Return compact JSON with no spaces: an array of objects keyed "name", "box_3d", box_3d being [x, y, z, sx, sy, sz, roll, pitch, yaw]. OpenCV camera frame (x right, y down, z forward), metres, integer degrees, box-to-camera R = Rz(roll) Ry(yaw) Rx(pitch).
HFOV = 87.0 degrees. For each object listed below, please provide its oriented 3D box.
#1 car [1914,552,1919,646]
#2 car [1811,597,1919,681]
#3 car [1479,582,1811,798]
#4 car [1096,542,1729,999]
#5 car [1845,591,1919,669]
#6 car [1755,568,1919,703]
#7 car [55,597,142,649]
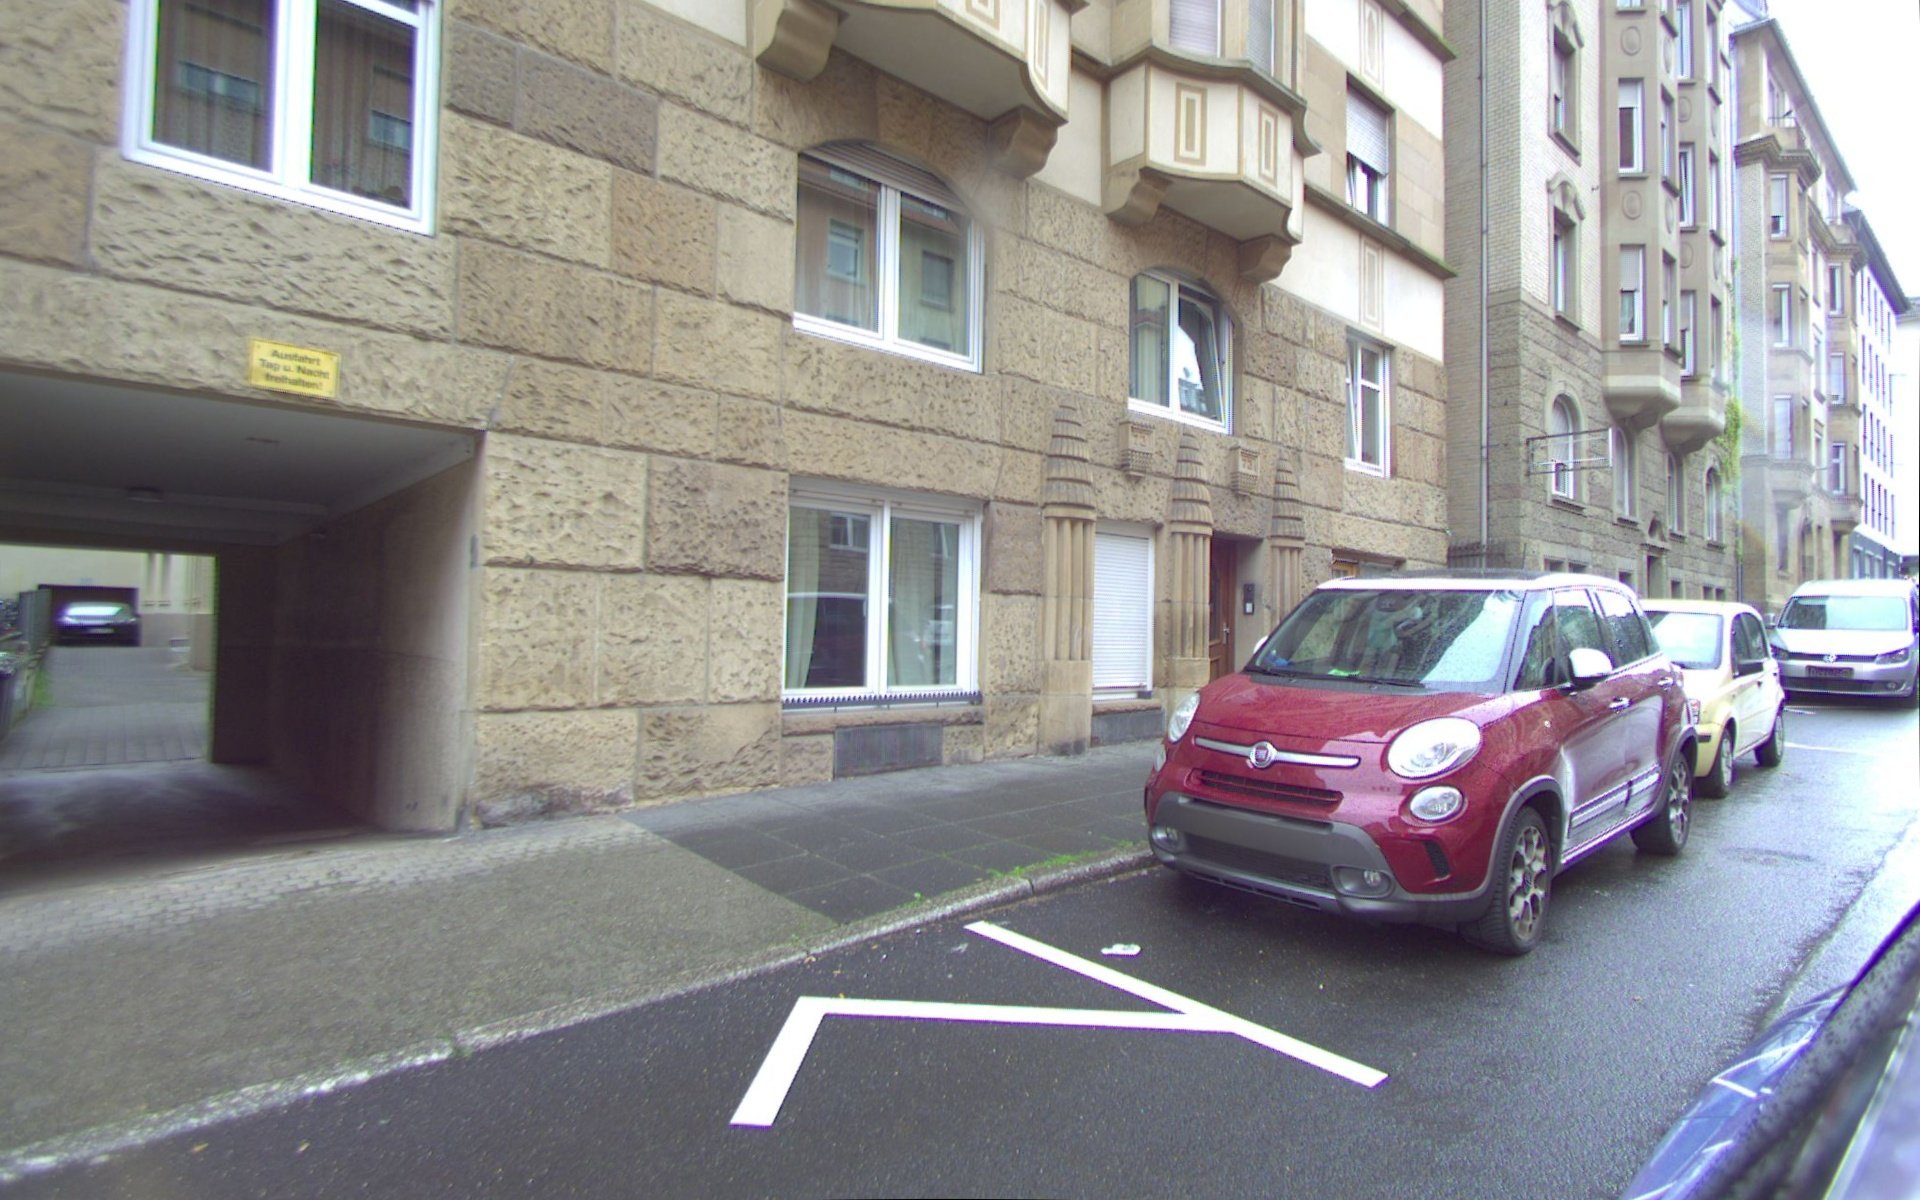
[{"name":"car","box_3d":[29.147,-0.047,28.842,6.042,2.567,1.991,0,-1,-39]},{"name":"car","box_3d":[17.146,0.650,18.421,3.912,1.406,1.929,0,-1,-41]},{"name":"car","box_3d":[6.139,0.642,8.938,3.471,1.530,1.630,0,-1,-42]},{"name":"car","box_3d":[2.700,0.583,5.578,3.932,1.621,1.772,0,1,-42]},{"name":"car","box_3d":[20.346,0.595,21.382,3.987,1.544,1.933,0,-1,-41]},{"name":"car","box_3d":[13.605,0.461,15.284,3.893,1.791,1.809,0,0,-41]},{"name":"car","box_3d":[-25.107,0.615,29.464,1.765,1.363,4.008,-1,1,-43]}]
